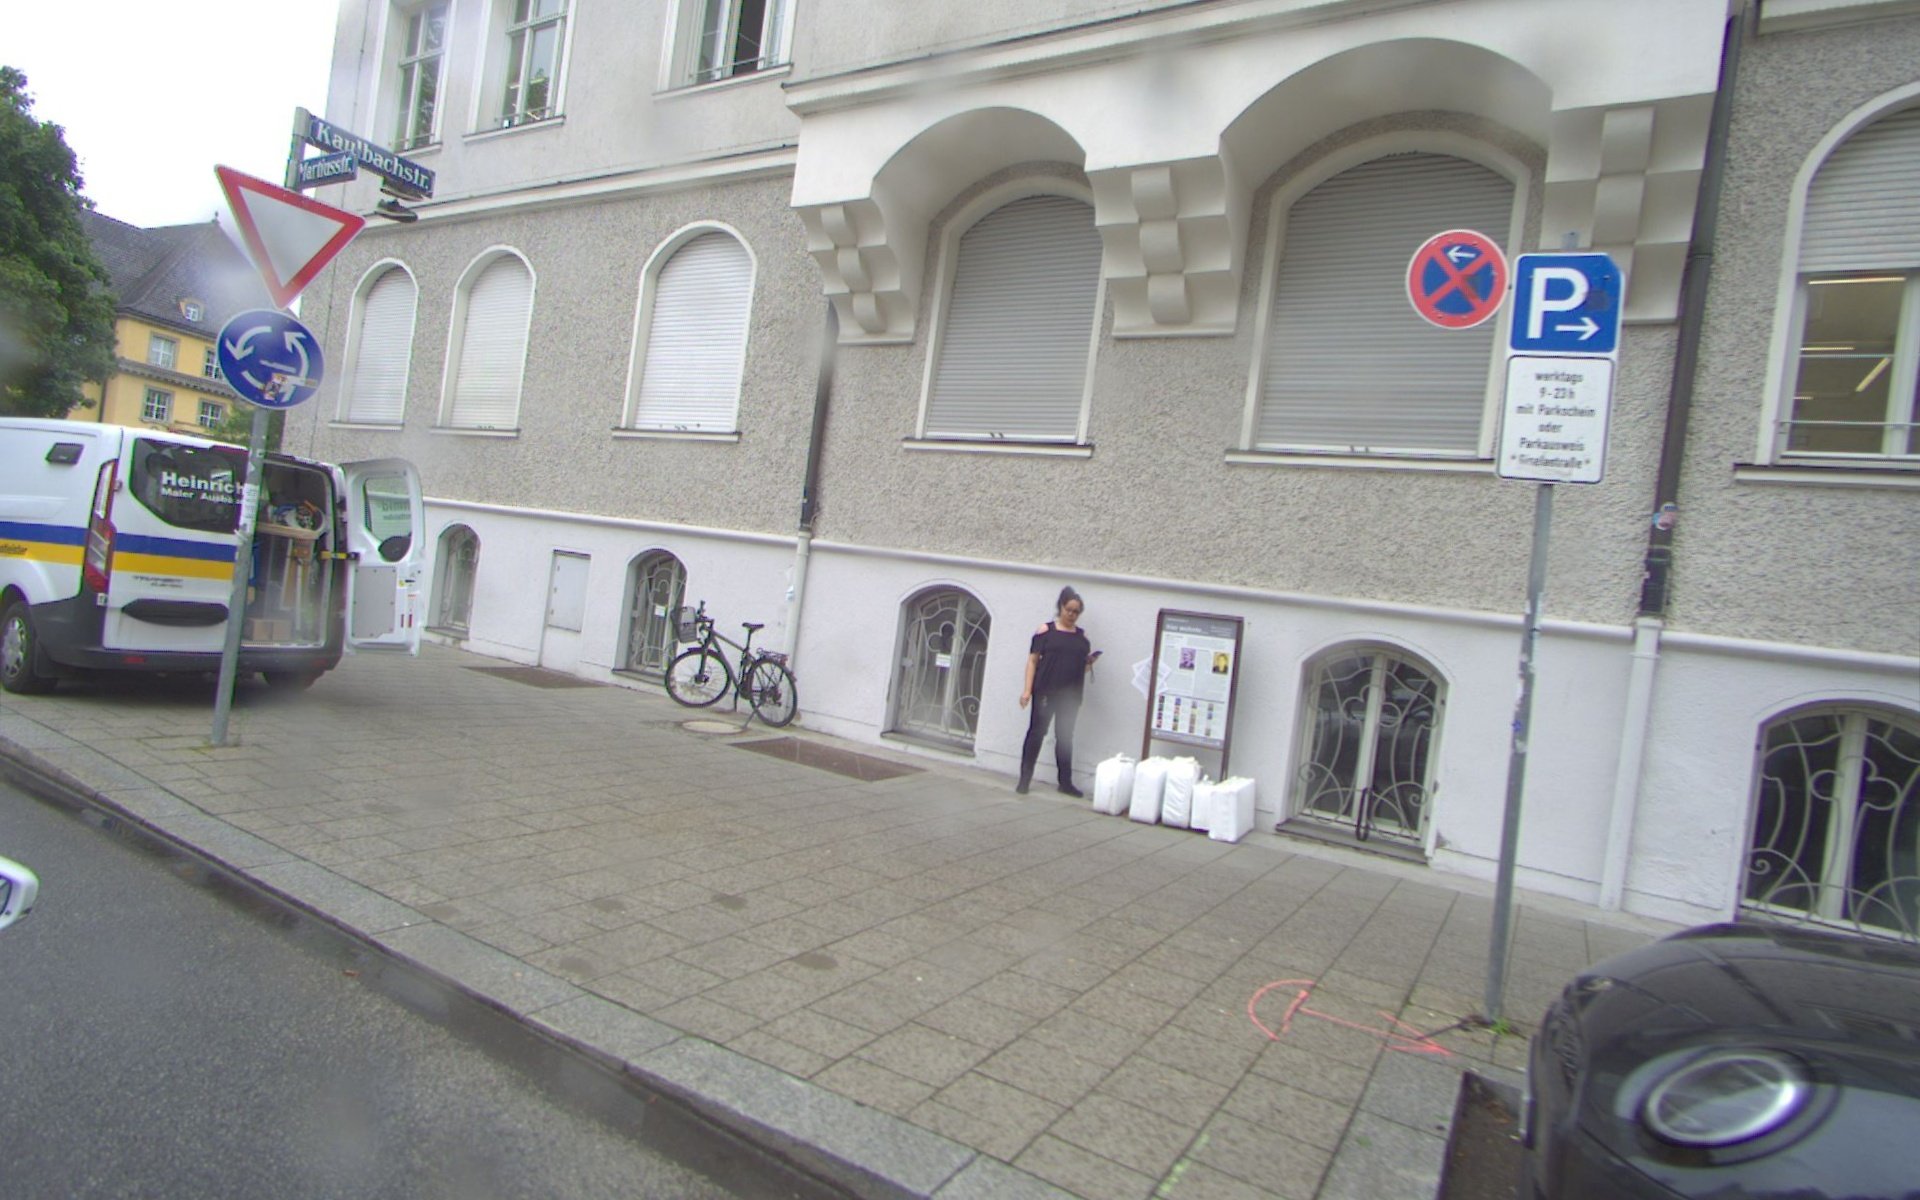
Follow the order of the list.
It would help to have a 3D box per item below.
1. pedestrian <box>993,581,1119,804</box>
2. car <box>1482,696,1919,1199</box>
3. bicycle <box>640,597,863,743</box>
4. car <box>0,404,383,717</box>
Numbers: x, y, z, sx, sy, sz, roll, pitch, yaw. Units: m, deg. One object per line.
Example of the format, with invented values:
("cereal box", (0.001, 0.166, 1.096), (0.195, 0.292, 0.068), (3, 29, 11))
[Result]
("pedestrian", (0.783, 0.749, 8.392), (0.724, 1.760, 0.691), (4, 2, -15))
("car", (3.099, 1.207, 1.685), (3.831, 1.475, 1.667), (8, 0, 31))
("bicycle", (-2.143, 0.665, 10.189), (2.244, 1.108, 0.695), (8, 2, 31))
("car", (-7.318, -0.460, 8.463), (4.842, 1.986, 1.919), (8, 1, 29))
